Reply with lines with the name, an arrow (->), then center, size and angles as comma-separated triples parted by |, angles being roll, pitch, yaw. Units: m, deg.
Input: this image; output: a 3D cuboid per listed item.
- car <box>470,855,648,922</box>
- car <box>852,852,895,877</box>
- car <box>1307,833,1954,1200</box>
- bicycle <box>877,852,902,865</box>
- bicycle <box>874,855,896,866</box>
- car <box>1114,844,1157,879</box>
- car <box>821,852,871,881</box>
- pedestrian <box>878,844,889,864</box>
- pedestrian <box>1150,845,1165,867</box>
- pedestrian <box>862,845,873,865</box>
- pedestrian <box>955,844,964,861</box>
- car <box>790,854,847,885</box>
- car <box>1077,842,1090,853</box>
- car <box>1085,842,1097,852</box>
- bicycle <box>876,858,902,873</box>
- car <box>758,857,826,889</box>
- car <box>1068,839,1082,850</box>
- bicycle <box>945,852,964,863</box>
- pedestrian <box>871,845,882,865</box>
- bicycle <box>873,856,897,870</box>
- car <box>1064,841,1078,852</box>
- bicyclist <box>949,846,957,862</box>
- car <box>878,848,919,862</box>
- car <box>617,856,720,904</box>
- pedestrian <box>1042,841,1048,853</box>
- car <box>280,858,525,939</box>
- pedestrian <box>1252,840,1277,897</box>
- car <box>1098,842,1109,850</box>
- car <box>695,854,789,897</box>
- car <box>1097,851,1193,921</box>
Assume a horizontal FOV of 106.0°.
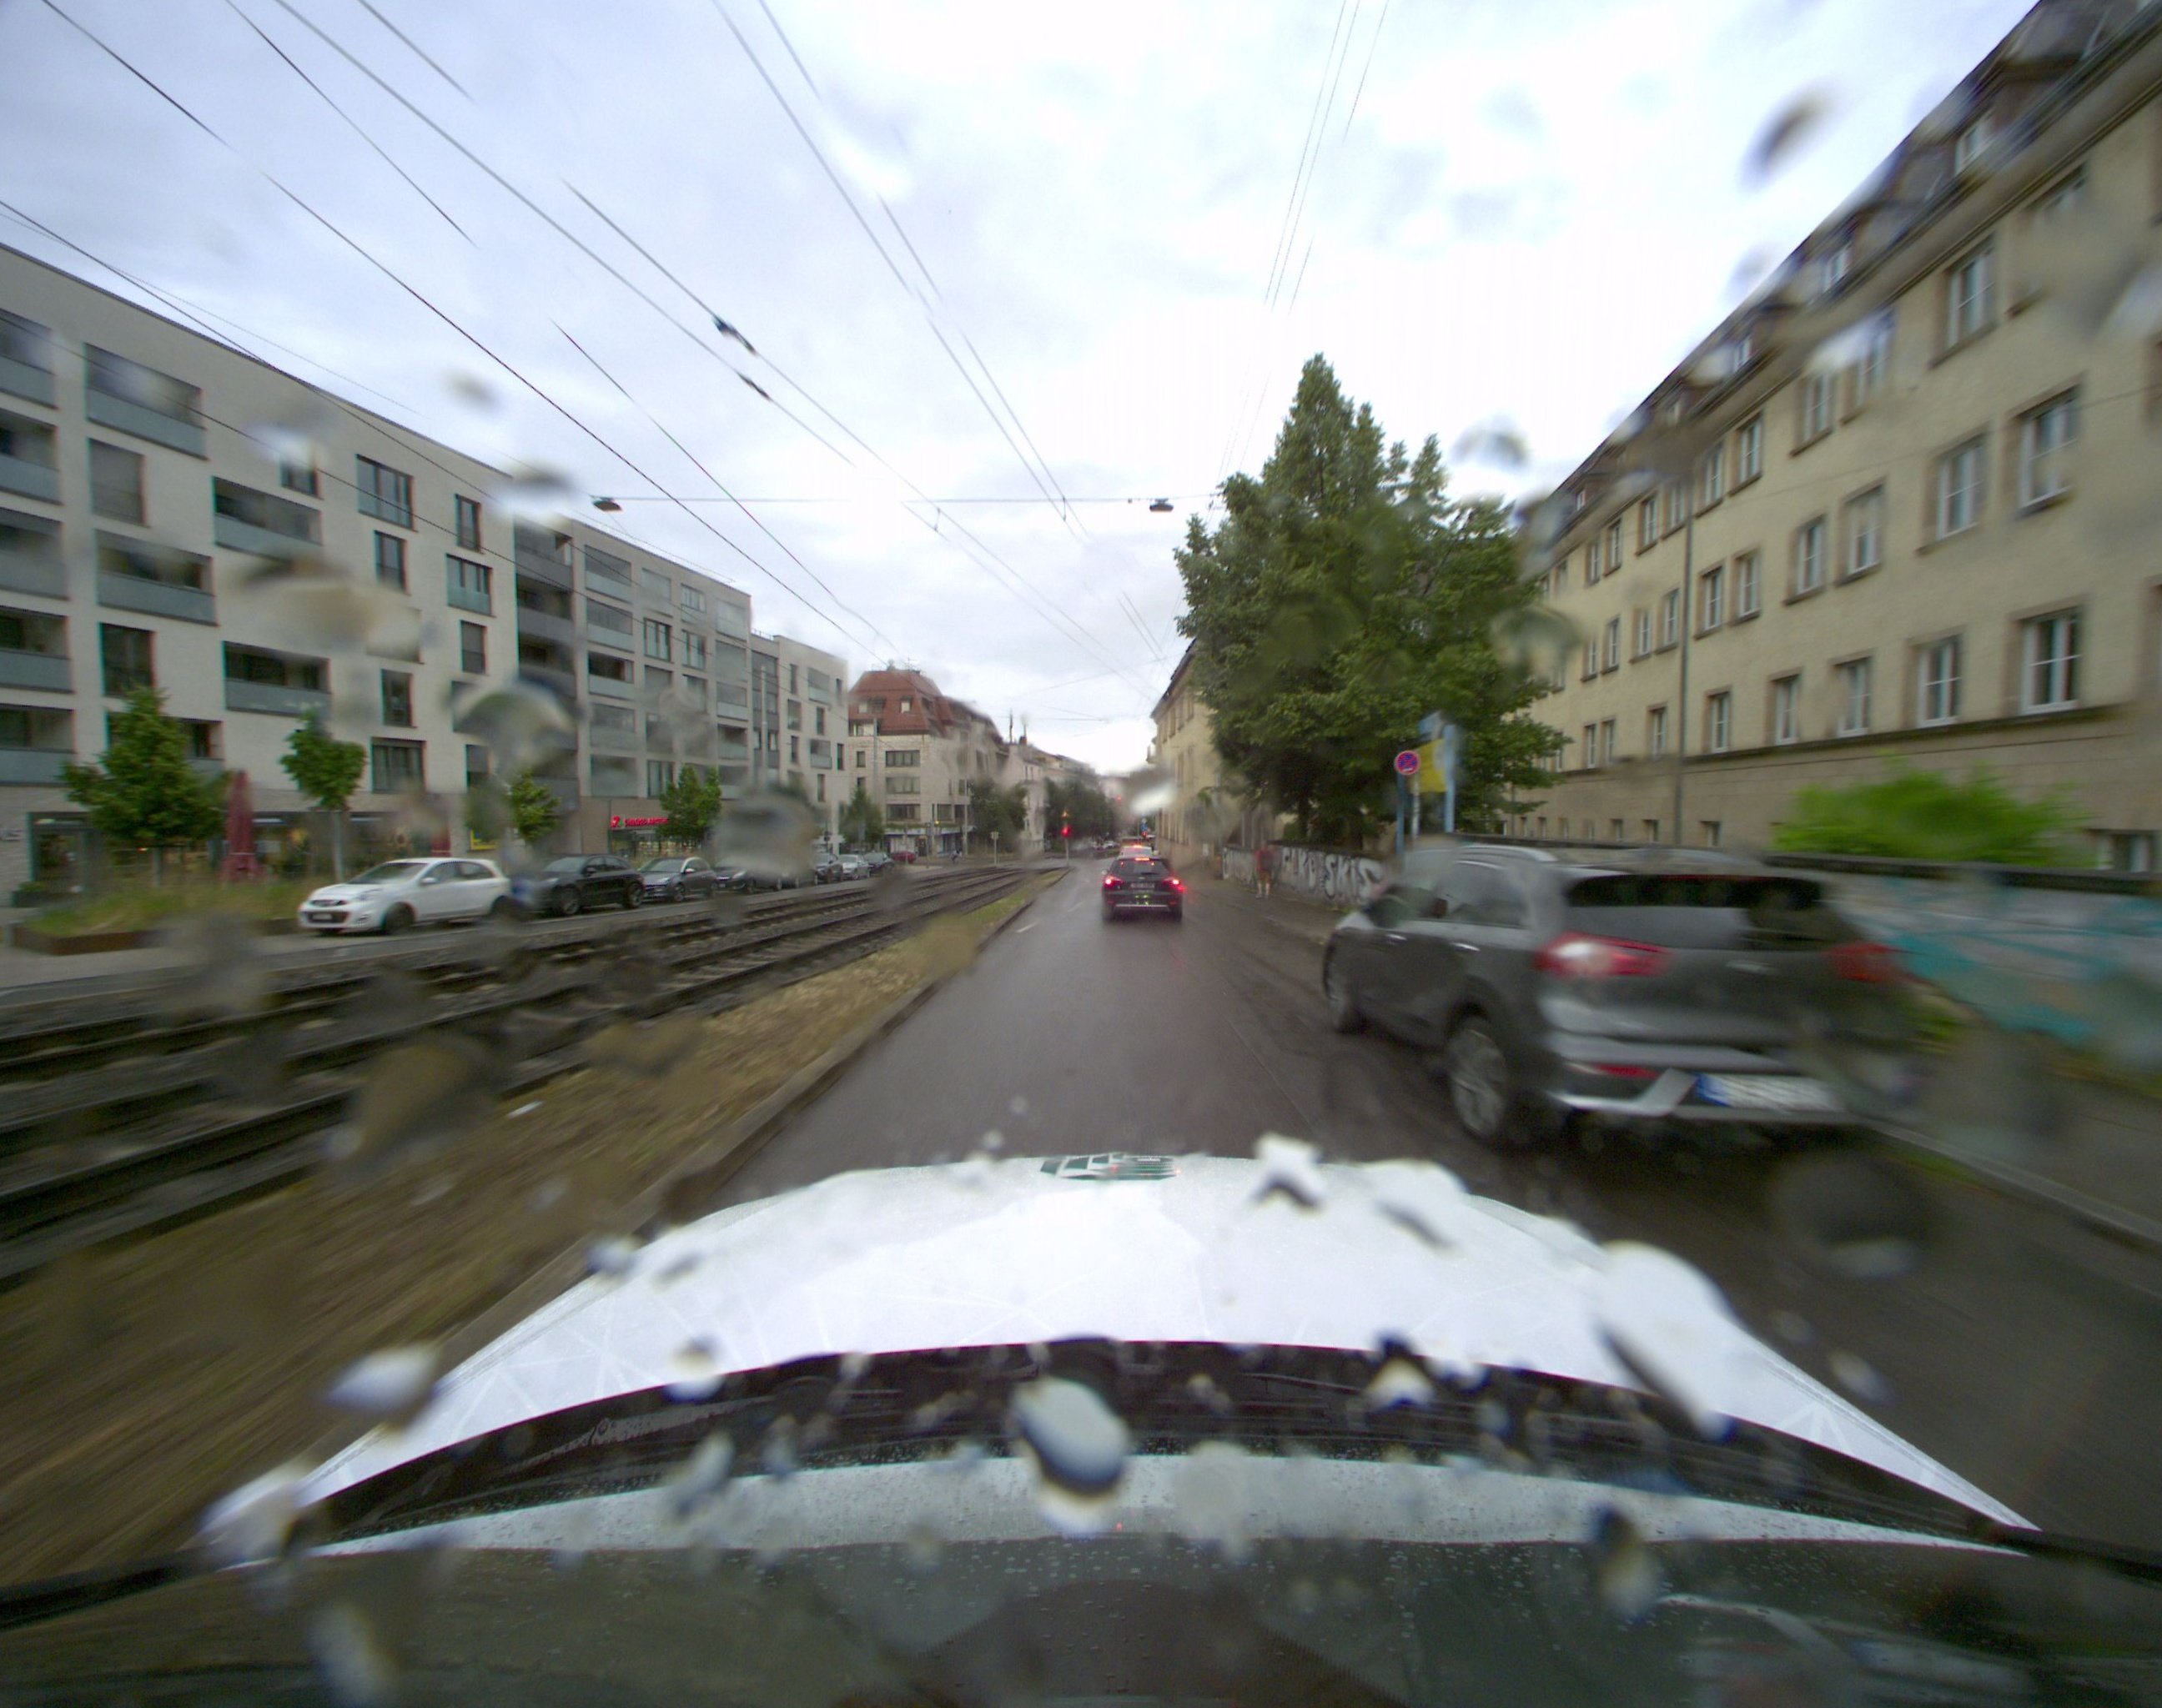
car -> -13.687, 0.826, 21.708 | 1.759, 1.561, 4.407 | -1, 0, 2
car -> -13.579, 0.653, 53.506 | 1.907, 1.504, 4.233 | -1, 0, -2
car -> 2.884, 0.671, 5.488 | 1.659, 1.524, 4.110 | 1, 0, 1
bicycle -> -15.447, 0.395, 65.703 | 1.948, 1.027, 0.719 | 0, 0, -8
bicycle -> -15.508, 0.523, 64.486 | 1.649, 0.866, 0.567 | 0, 0, -10
car -> 2.983, 0.352, 43.807 | 2.126, 1.745, 4.226 | -1, 1, 6
car -> -13.415, 0.679, 46.699 | 1.768, 1.504, 4.080 | -1, 0, -2
pedestrian -> -20.187, 0.020, 83.178 | 0.939, 2.013, 0.764 | -1, 0, -3
pedestrian -> 6.137, 0.154, 65.423 | 1.042, 1.795, 0.902 | -1, 0, -1
pedestrian -> -21.496, 0.088, 82.081 | 0.939, 2.013, 0.764 | -1, 0, -3
pedestrian -> -14.226, -0.213, 95.399 | 0.903, 1.931, 0.824 | -1, 0, -3
car -> -13.450, 0.766, 41.919 | 1.768, 1.504, 3.918 | -1, 0, -2
car -> 0.478, -1.271, 154.949 | 1.983, 2.013, 4.007 | 0, 1, 6
car -> 2.093, -1.421, 165.820 | 1.983, 2.013, 4.007 | 0, 1, 6
bicycle -> -14.108, 0.840, 59.840 | 1.799, 1.064, 0.455 | 0, 0, -14
car -> -13.188, 0.843, 37.364 | 1.543, 1.362, 4.012 | 0, 0, 2
car -> -1.111, -1.762, 148.667 | 1.983, 2.013, 4.007 | 0, 1, 6
bicycle -> -12.797, 0.344, 82.356 | 1.810, 1.064, 0.452 | 0, 0, -35
pedestrian -> -20.422, 0.119, 81.312 | 0.939, 2.013, 0.764 | -1, 0, -3
bicycle -> -14.860, 0.700, 61.780 | 1.799, 1.064, 0.455 | 0, 0, -14
car -> -1.653, -1.321, 142.377 | 1.983, 2.013, 4.007 | 0, 1, 6
bicyclist -> -12.928, -0.022, 82.261 | 0.704, 1.574, 0.457 | 0, 0, -34
car -> -20.526, 0.116, 91.812 | 4.108, 1.568, 1.828 | 0, 0, 9
car -> -13.509, 0.808, 26.884 | 1.543, 1.435, 3.452 | -1, 0, 2
pedestrian -> -6.153, -1.250, 140.401 | 0.941, 2.013, 0.762 | -1, 0, -9
car -> -14.176, 0.864, 17.324 | 1.755, 1.479, 3.743 | -1, 0, 8
pedestrian -> 5.690, 0.435, 25.266 | 0.630, 1.721, 0.711 | -1, 0, 2
car -> 4.990, -1.818, 178.912 | 1.983, 1.662, 4.007 | 0, 1, 6
car -> -13.217, 0.782, 32.040 | 1.713, 1.513, 4.320 | -1, 0, 2
car -> 1.406, 0.683, 19.341 | 1.914, 1.479, 3.999 | 1, 0, 0
